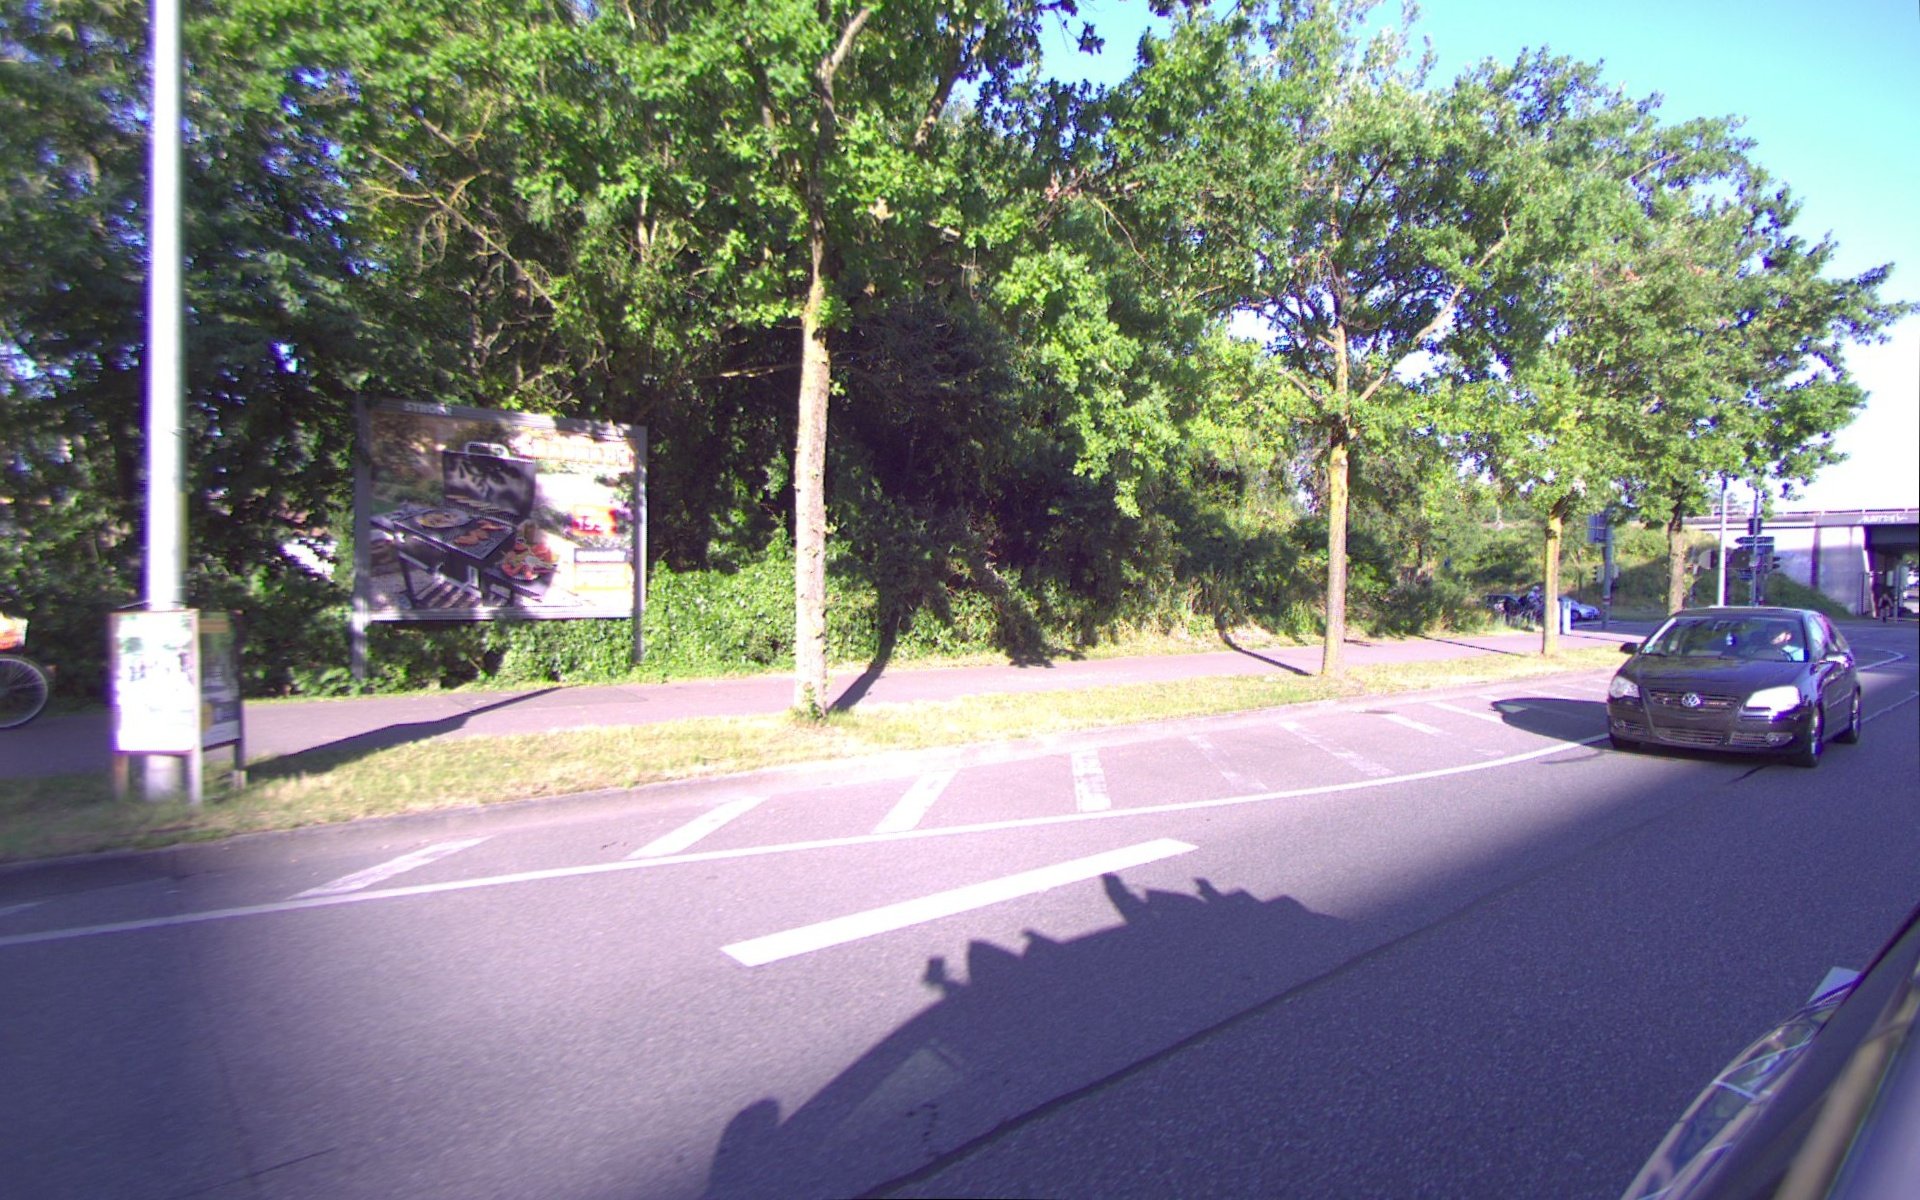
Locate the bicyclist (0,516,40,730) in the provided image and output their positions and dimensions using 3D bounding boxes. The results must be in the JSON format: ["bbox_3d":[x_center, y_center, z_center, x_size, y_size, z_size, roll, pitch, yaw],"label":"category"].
[{"bbox_3d":[-8.215,0.184,8.384,0.833,1.755,0.604,0,1,-39],"label":"bicyclist"}]

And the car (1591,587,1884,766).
[{"bbox_3d":[8.269,0.670,10.625,4.141,1.518,1.724,1,-1,-42],"label":"car"}]

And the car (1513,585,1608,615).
[{"bbox_3d":[34.566,-0.042,58.305,1.896,1.537,4.290,0,2,-37],"label":"car"}]

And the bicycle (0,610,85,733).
[{"bbox_3d":[-8.450,0.593,8.211,2.021,0.986,0.618,0,1,-39],"label":"bicycle"}]

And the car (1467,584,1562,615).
[{"bbox_3d":[31.443,-0.037,57.469,1.896,1.537,4.290,0,2,-37],"label":"car"}]
